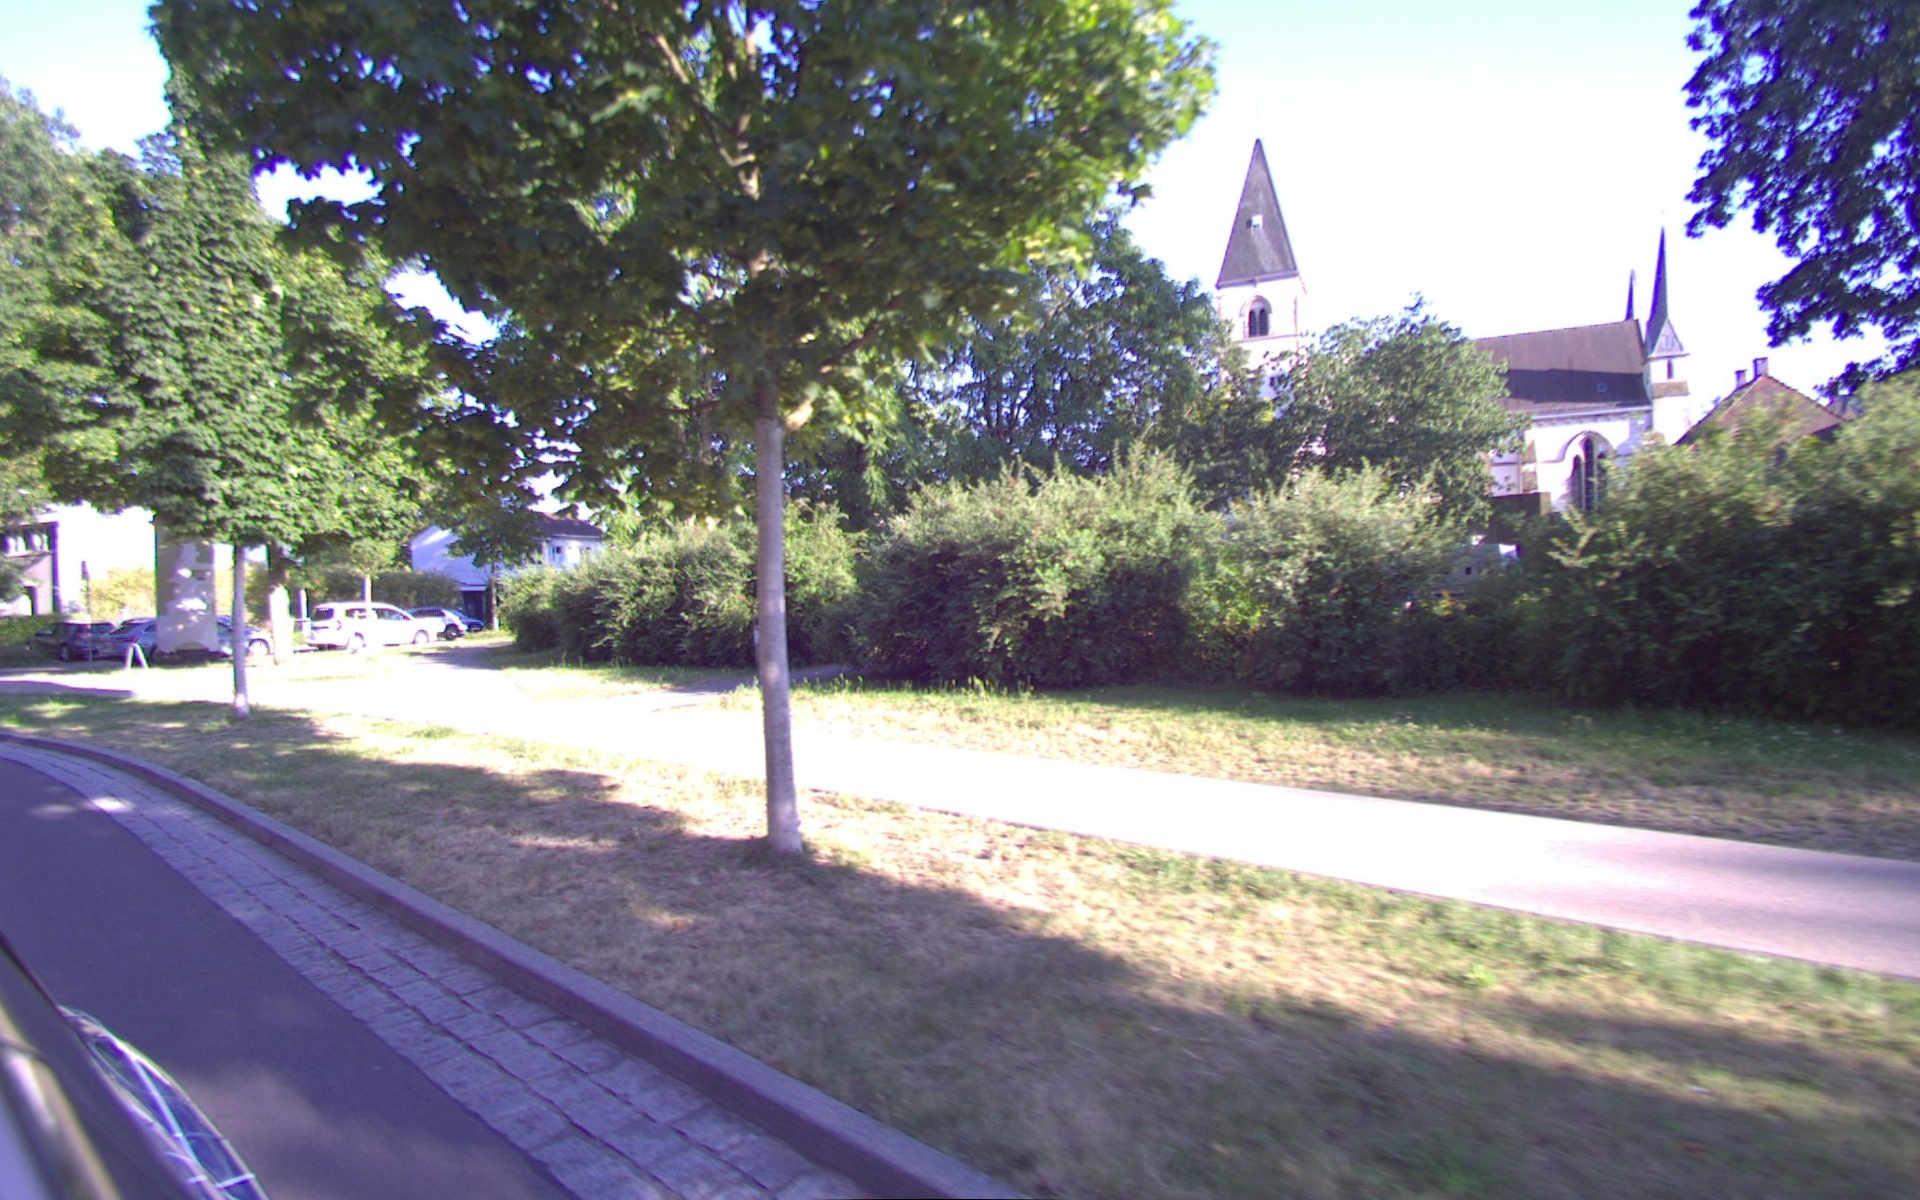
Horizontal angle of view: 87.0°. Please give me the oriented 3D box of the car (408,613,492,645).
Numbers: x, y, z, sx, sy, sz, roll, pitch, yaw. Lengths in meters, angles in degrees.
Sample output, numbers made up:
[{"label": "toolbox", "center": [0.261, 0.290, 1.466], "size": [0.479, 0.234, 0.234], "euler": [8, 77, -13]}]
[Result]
[{"label": "car", "center": [-26.190, 1.463, 51.952], "size": [3.897, 1.549, 1.732], "euler": [0, 1, 22]}]

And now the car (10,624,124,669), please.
[{"label": "car", "center": [-33.150, 1.709, 37.557], "size": [3.974, 1.527, 1.633], "euler": [-1, 0, 23]}]

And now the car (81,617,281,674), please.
[{"label": "car", "center": [-25.047, 1.426, 32.767], "size": [1.857, 1.570, 4.799], "euler": [-2, 0, 24]}]

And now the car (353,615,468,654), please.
[{"label": "car", "center": [-24.832, 1.522, 45.894], "size": [1.774, 1.546, 4.306], "euler": [-3, -1, 27]}]

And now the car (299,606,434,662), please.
[{"label": "car", "center": [-22.620, 1.247, 38.724], "size": [1.752, 1.931, 4.204], "euler": [-2, 0, 24]}]

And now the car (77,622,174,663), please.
[{"label": "car", "center": [-33.402, 1.672, 40.518], "size": [3.334, 1.502, 1.625], "euler": [0, 1, 23]}]
